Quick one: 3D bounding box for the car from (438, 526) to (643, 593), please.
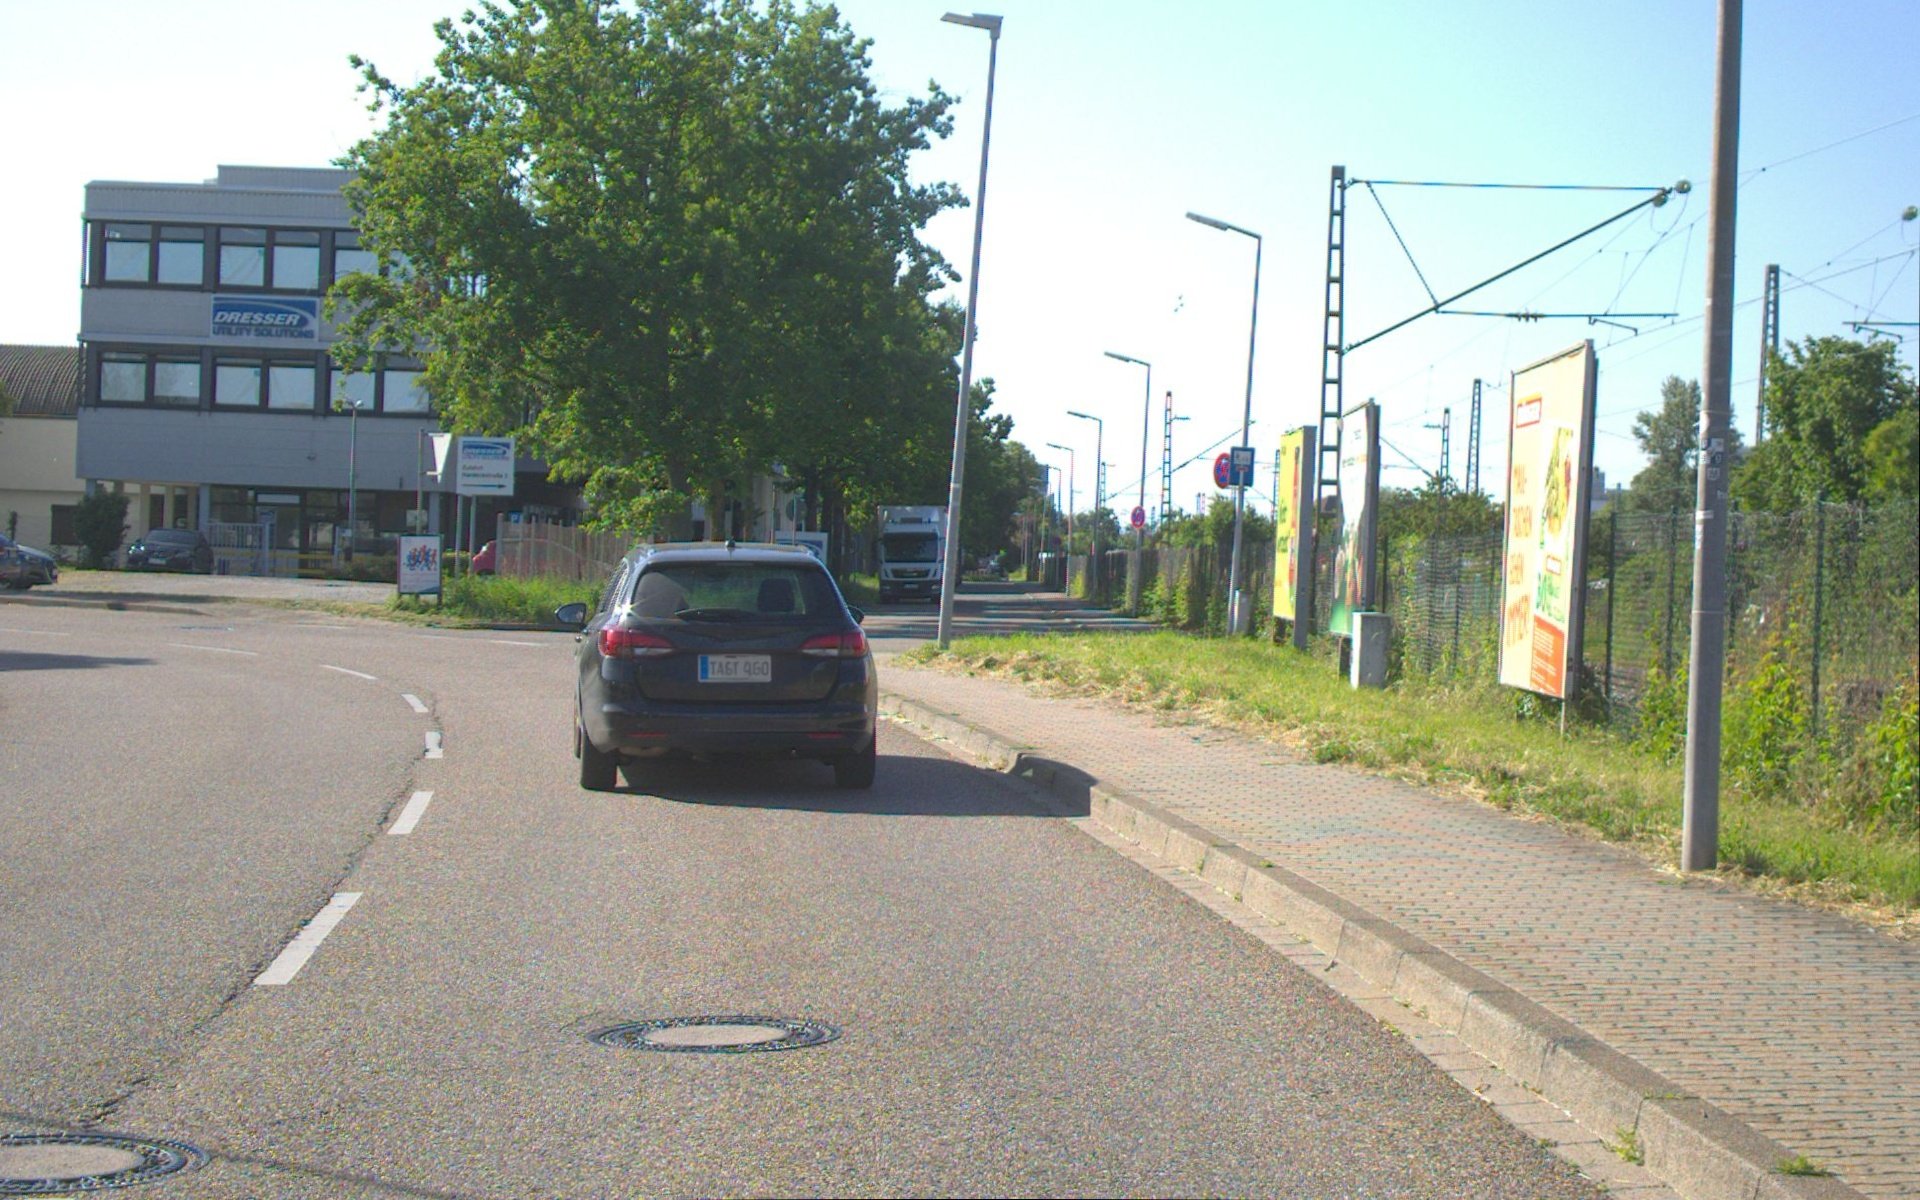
[{"bbox_3d":[-10.834,-1.060,88.918,4.911,1.479,2.000,2,2,5],"label":"car"}]

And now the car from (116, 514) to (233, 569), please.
[{"bbox_3d":[-22.954,-1.730,100.602,1.994,1.479,4.926,2,2,3],"label":"car"}]

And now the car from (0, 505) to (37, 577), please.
[{"bbox_3d":[-21.279,-1.277,69.062,4.910,1.421,2.000,2,1,0],"label":"car"}]

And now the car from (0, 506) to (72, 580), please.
[{"bbox_3d":[-21.255,-1.270,71.666,4.910,1.479,2.000,2,1,0],"label":"car"}]

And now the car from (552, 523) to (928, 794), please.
[{"bbox_3d":[-1.510,0.287,21.767,1.942,1.483,4.567,1,2,-9],"label":"car"}]

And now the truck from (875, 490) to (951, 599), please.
[{"bbox_3d":[-1.888,-2.143,133.068,2.613,3.872,13.533,3,1,-1],"label":"truck"}]
